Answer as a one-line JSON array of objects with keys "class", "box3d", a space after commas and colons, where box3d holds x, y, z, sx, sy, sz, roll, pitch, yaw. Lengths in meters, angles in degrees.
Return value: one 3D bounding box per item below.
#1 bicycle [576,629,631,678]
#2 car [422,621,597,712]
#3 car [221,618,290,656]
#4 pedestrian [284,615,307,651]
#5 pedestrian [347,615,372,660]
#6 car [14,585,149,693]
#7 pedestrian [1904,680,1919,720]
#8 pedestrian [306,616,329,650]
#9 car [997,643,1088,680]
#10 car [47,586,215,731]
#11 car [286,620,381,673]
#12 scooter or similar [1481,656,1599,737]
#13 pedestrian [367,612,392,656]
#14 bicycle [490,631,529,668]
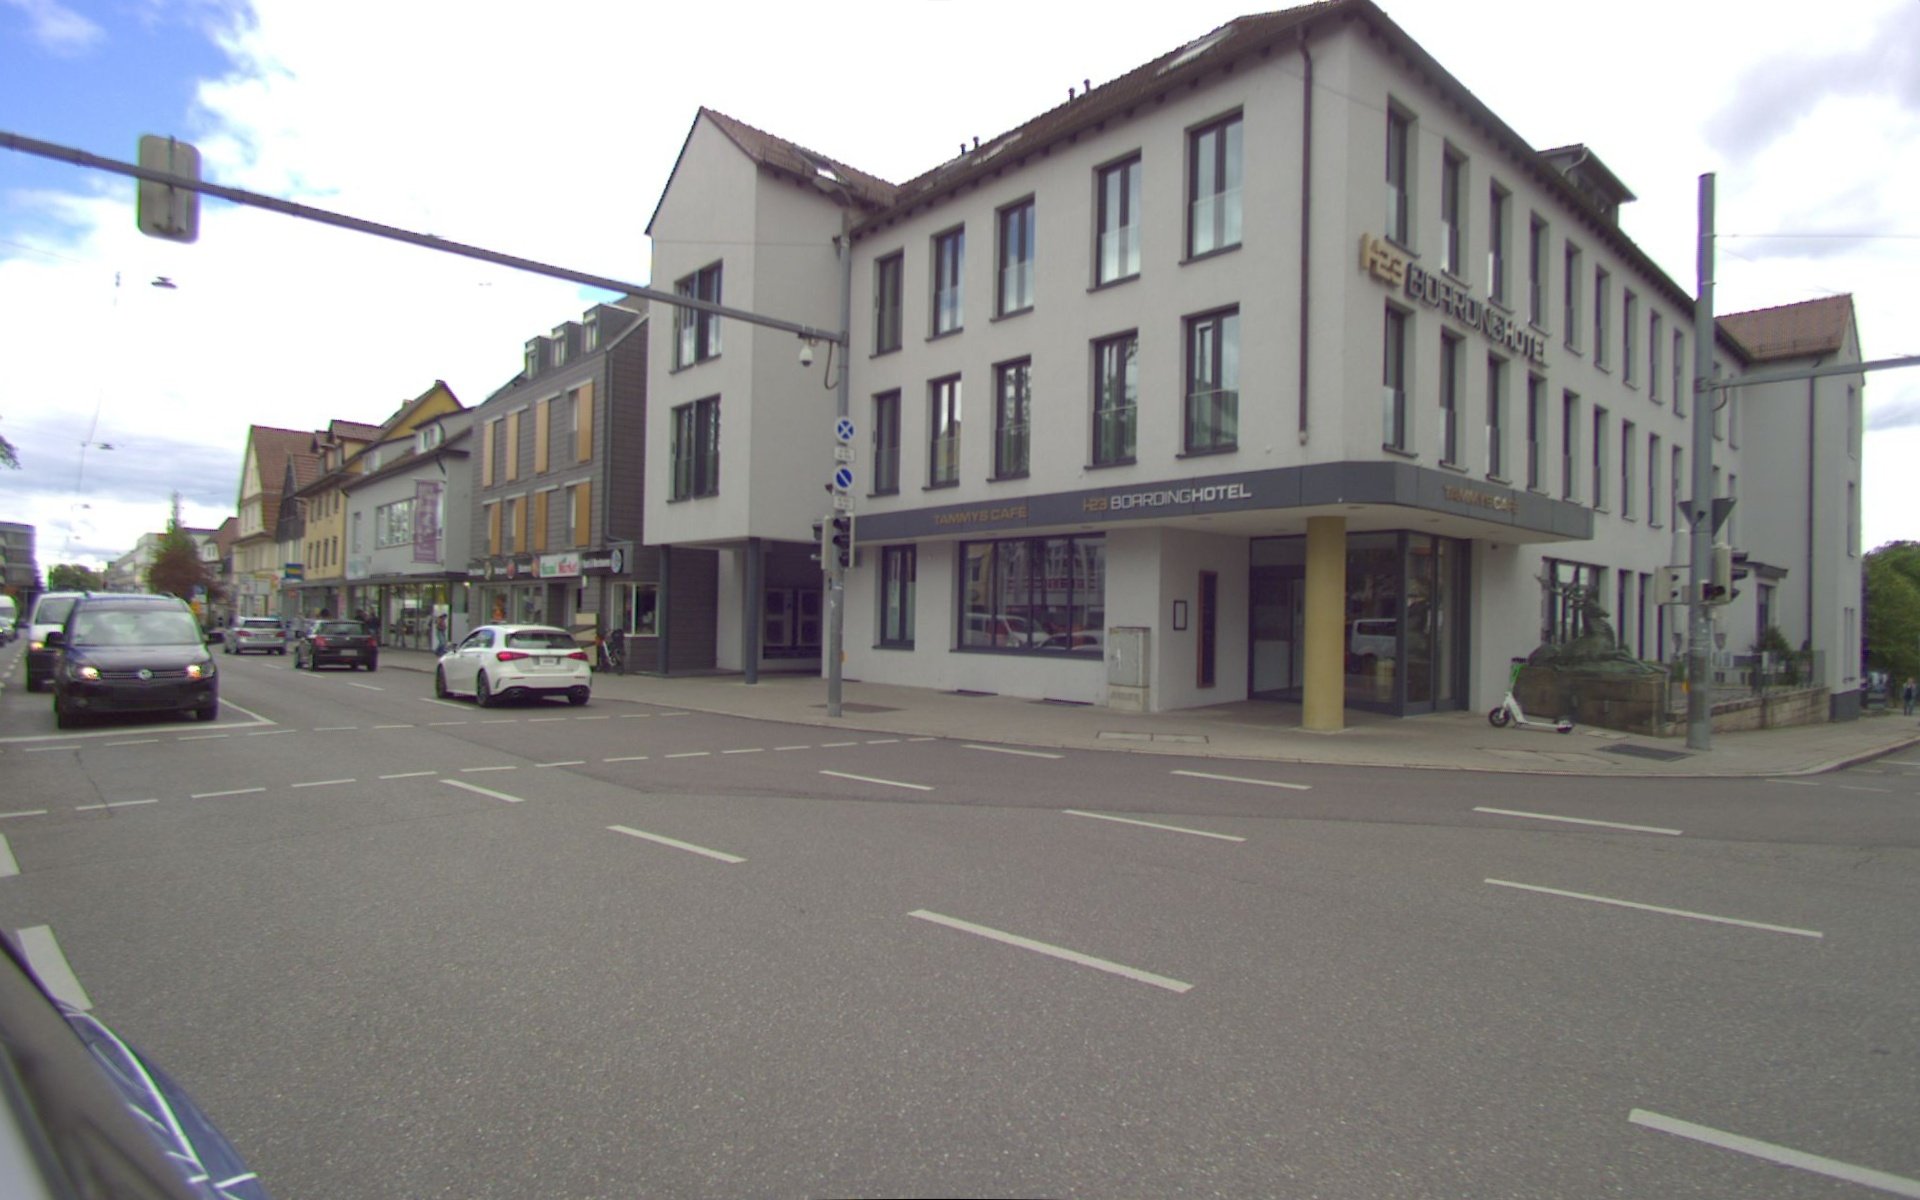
[{"class": "bicycle", "box3d": [-9.514, 1.397, 26.960, 0.575, 1.241, 2.121, 1, -2, -43]}, {"class": "car", "box3d": [-8.345, 1.136, 18.556, 1.722, 1.470, 4.241, 3, -3, -41]}, {"class": "car", "box3d": [-29.371, 1.519, 42.139, 1.846, 1.497, 4.005, 2, -2, -42]}, {"class": "pedestrian", "box3d": [-31.782, 1.565, 48.395, 0.800, 1.674, 0.922, 1, -2, -41]}, {"class": "pedestrian", "box3d": [-24.884, 1.537, 41.925, 0.698, 1.853, 1.029, 2, -2, -41]}, {"class": "car", "box3d": [-18.647, 0.757, 21.474, 1.969, 2.029, 4.846, 0, 0, -42]}, {"class": "pedestrian", "box3d": [41.087, 4.293, 43.341, 0.850, 1.665, 0.865, 2, -2, -40]}, {"class": "pedestrian", "box3d": [-31.157, 1.595, 49.082, 0.800, 1.595, 0.922, 1, -2, -41]}, {"class": "car", "box3d": [2.976, 2.216, 36.983, 1.376, 1.189, 3.359, 6, -4, -37]}, {"class": "car", "box3d": [-12.457, 0.764, 15.094, 1.687, 1.834, 4.577, -1, 0, -42]}, {"class": "car", "box3d": [-18.721, 1.351, 30.186, 1.723, 1.470, 3.822, 3, -3, -42]}, {"class": "scooter or similar", "box3d": [9.289, 1.532, 16.240, 1.555, 1.167, 0.425, 3, -1, 7]}, {"class": "pedestrian", "box3d": [-24.319, 1.415, 42.394, 0.698, 1.795, 0.871, 2, -2, -43]}, {"class": "bicycle", "box3d": [-14.170, 1.525, 31.785, 0.565, 1.109, 1.905, 1, -2, -42]}]
